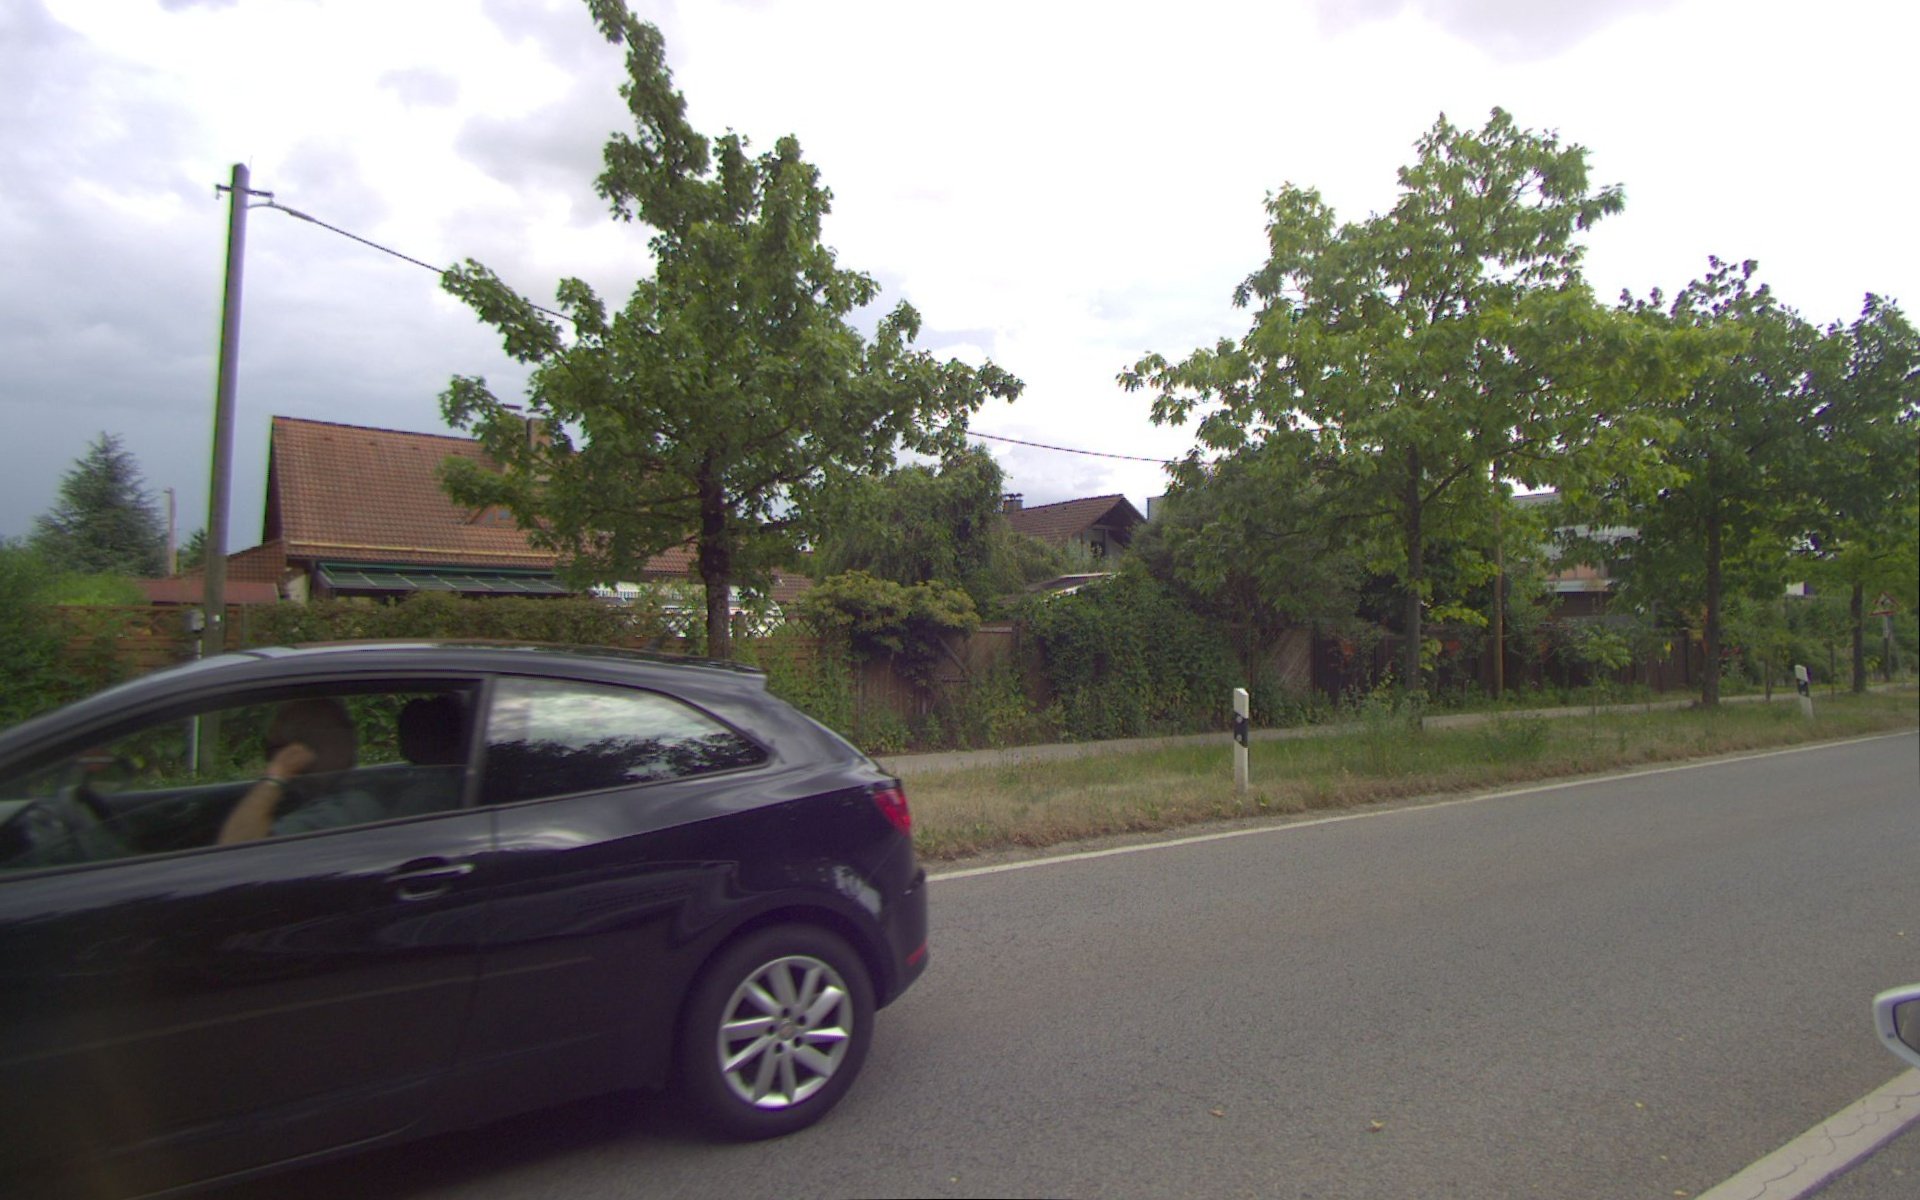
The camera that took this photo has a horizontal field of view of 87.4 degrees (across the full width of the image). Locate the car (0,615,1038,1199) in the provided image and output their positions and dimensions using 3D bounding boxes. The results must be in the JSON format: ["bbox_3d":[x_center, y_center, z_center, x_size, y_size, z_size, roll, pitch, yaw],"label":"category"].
[{"bbox_3d":[-1.870,0.797,2.921,3.967,1.430,1.668,1,-3,-31],"label":"car"}]
